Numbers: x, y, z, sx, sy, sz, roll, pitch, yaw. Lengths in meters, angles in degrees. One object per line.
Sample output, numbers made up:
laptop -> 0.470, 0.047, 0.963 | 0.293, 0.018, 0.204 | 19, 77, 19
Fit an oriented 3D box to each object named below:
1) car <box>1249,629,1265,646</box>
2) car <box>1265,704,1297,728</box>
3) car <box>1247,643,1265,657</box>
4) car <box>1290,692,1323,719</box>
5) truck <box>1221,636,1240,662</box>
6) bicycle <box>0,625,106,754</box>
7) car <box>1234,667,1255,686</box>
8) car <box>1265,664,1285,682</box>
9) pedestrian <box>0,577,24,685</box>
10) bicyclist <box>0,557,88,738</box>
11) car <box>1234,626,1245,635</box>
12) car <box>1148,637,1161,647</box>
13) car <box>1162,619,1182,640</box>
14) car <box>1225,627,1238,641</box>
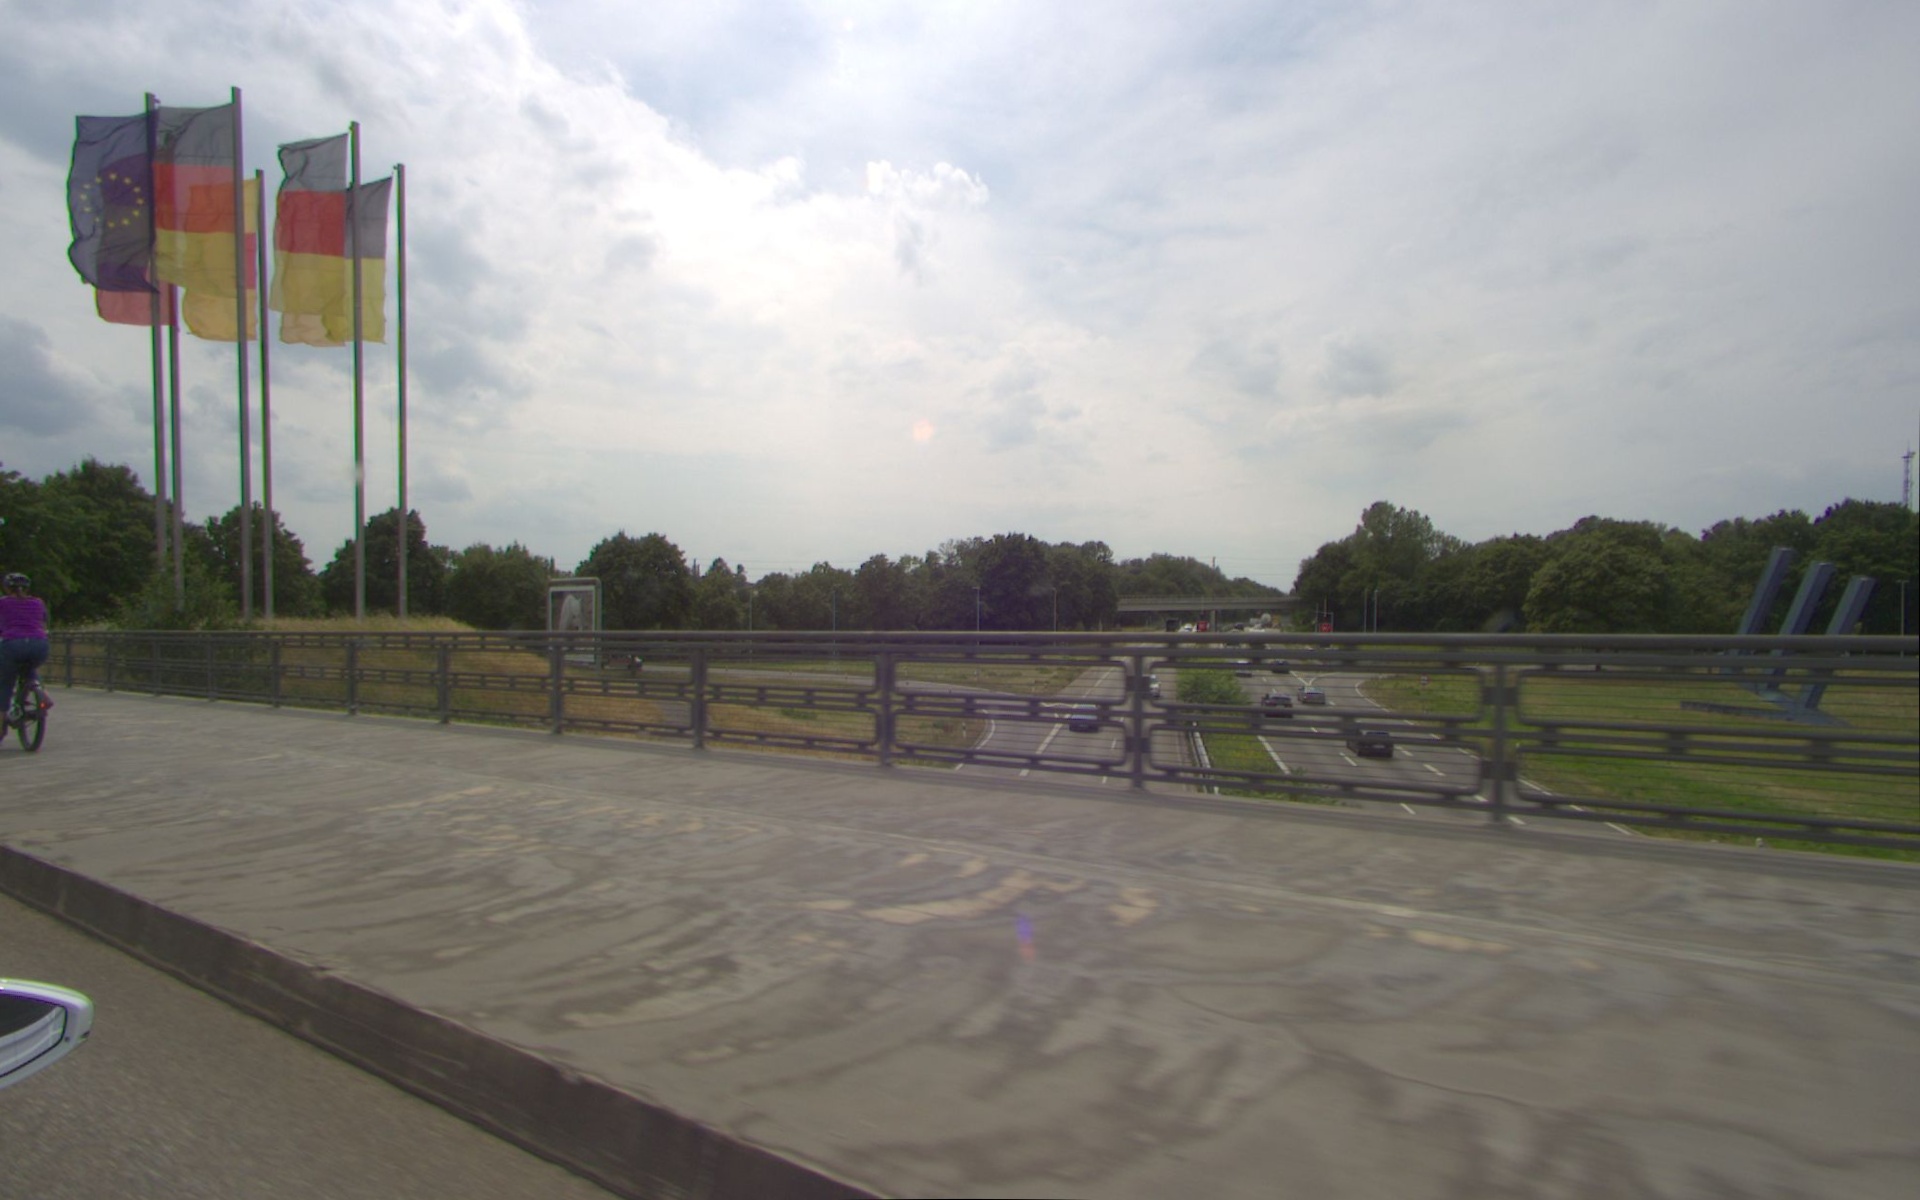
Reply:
car -> 46.169, 5.882, 155.817 | 2.043, 2.523, 4.359 | 0, 0, 12
car -> 21.652, 7.795, 67.491 | 1.965, 1.253, 3.995 | 0, -3, 20
car -> 39.892, 6.715, 135.050 | 1.962, 1.606, 3.998 | -1, 0, 10
car -> 26.647, 8.104, 77.132 | 1.963, 1.606, 3.996 | -1, 0, 13
truck -> 35.557, 6.436, 131.646 | 1.962, 3.191, 4.379 | -1, 0, 9
bicycle -> -9.916, 0.885, 10.544 | 2.425, 1.208, 0.692 | 0, 0, 32
car -> 28.627, 7.676, 100.704 | 1.963, 1.606, 3.995 | -1, 0, 15
car -> 33.571, 7.751, 106.741 | 1.964, 1.606, 3.994 | -1, 0, 17
pedestrian -> -18.362, 0.587, 19.078 | 0.658, 2.040, 0.626 | 1, 0, 33
bicyclist -> -9.692, 0.473, 10.399 | 0.977, 1.778, 0.702 | 0, 0, 32
car -> 63.384, 6.925, 226.824 | 2.043, 1.907, 4.359 | 0, -1, 12
car -> 31.867, 6.906, 163.866 | 1.663, 1.566, 3.995 | 0, -1, 16
car -> 41.417, 5.641, 195.497 | 3.280, 3.948, 7.509 | 0, 0, 8
car -> 49.978, 6.270, 184.326 | 2.043, 2.523, 4.359 | 0, 0, 12
